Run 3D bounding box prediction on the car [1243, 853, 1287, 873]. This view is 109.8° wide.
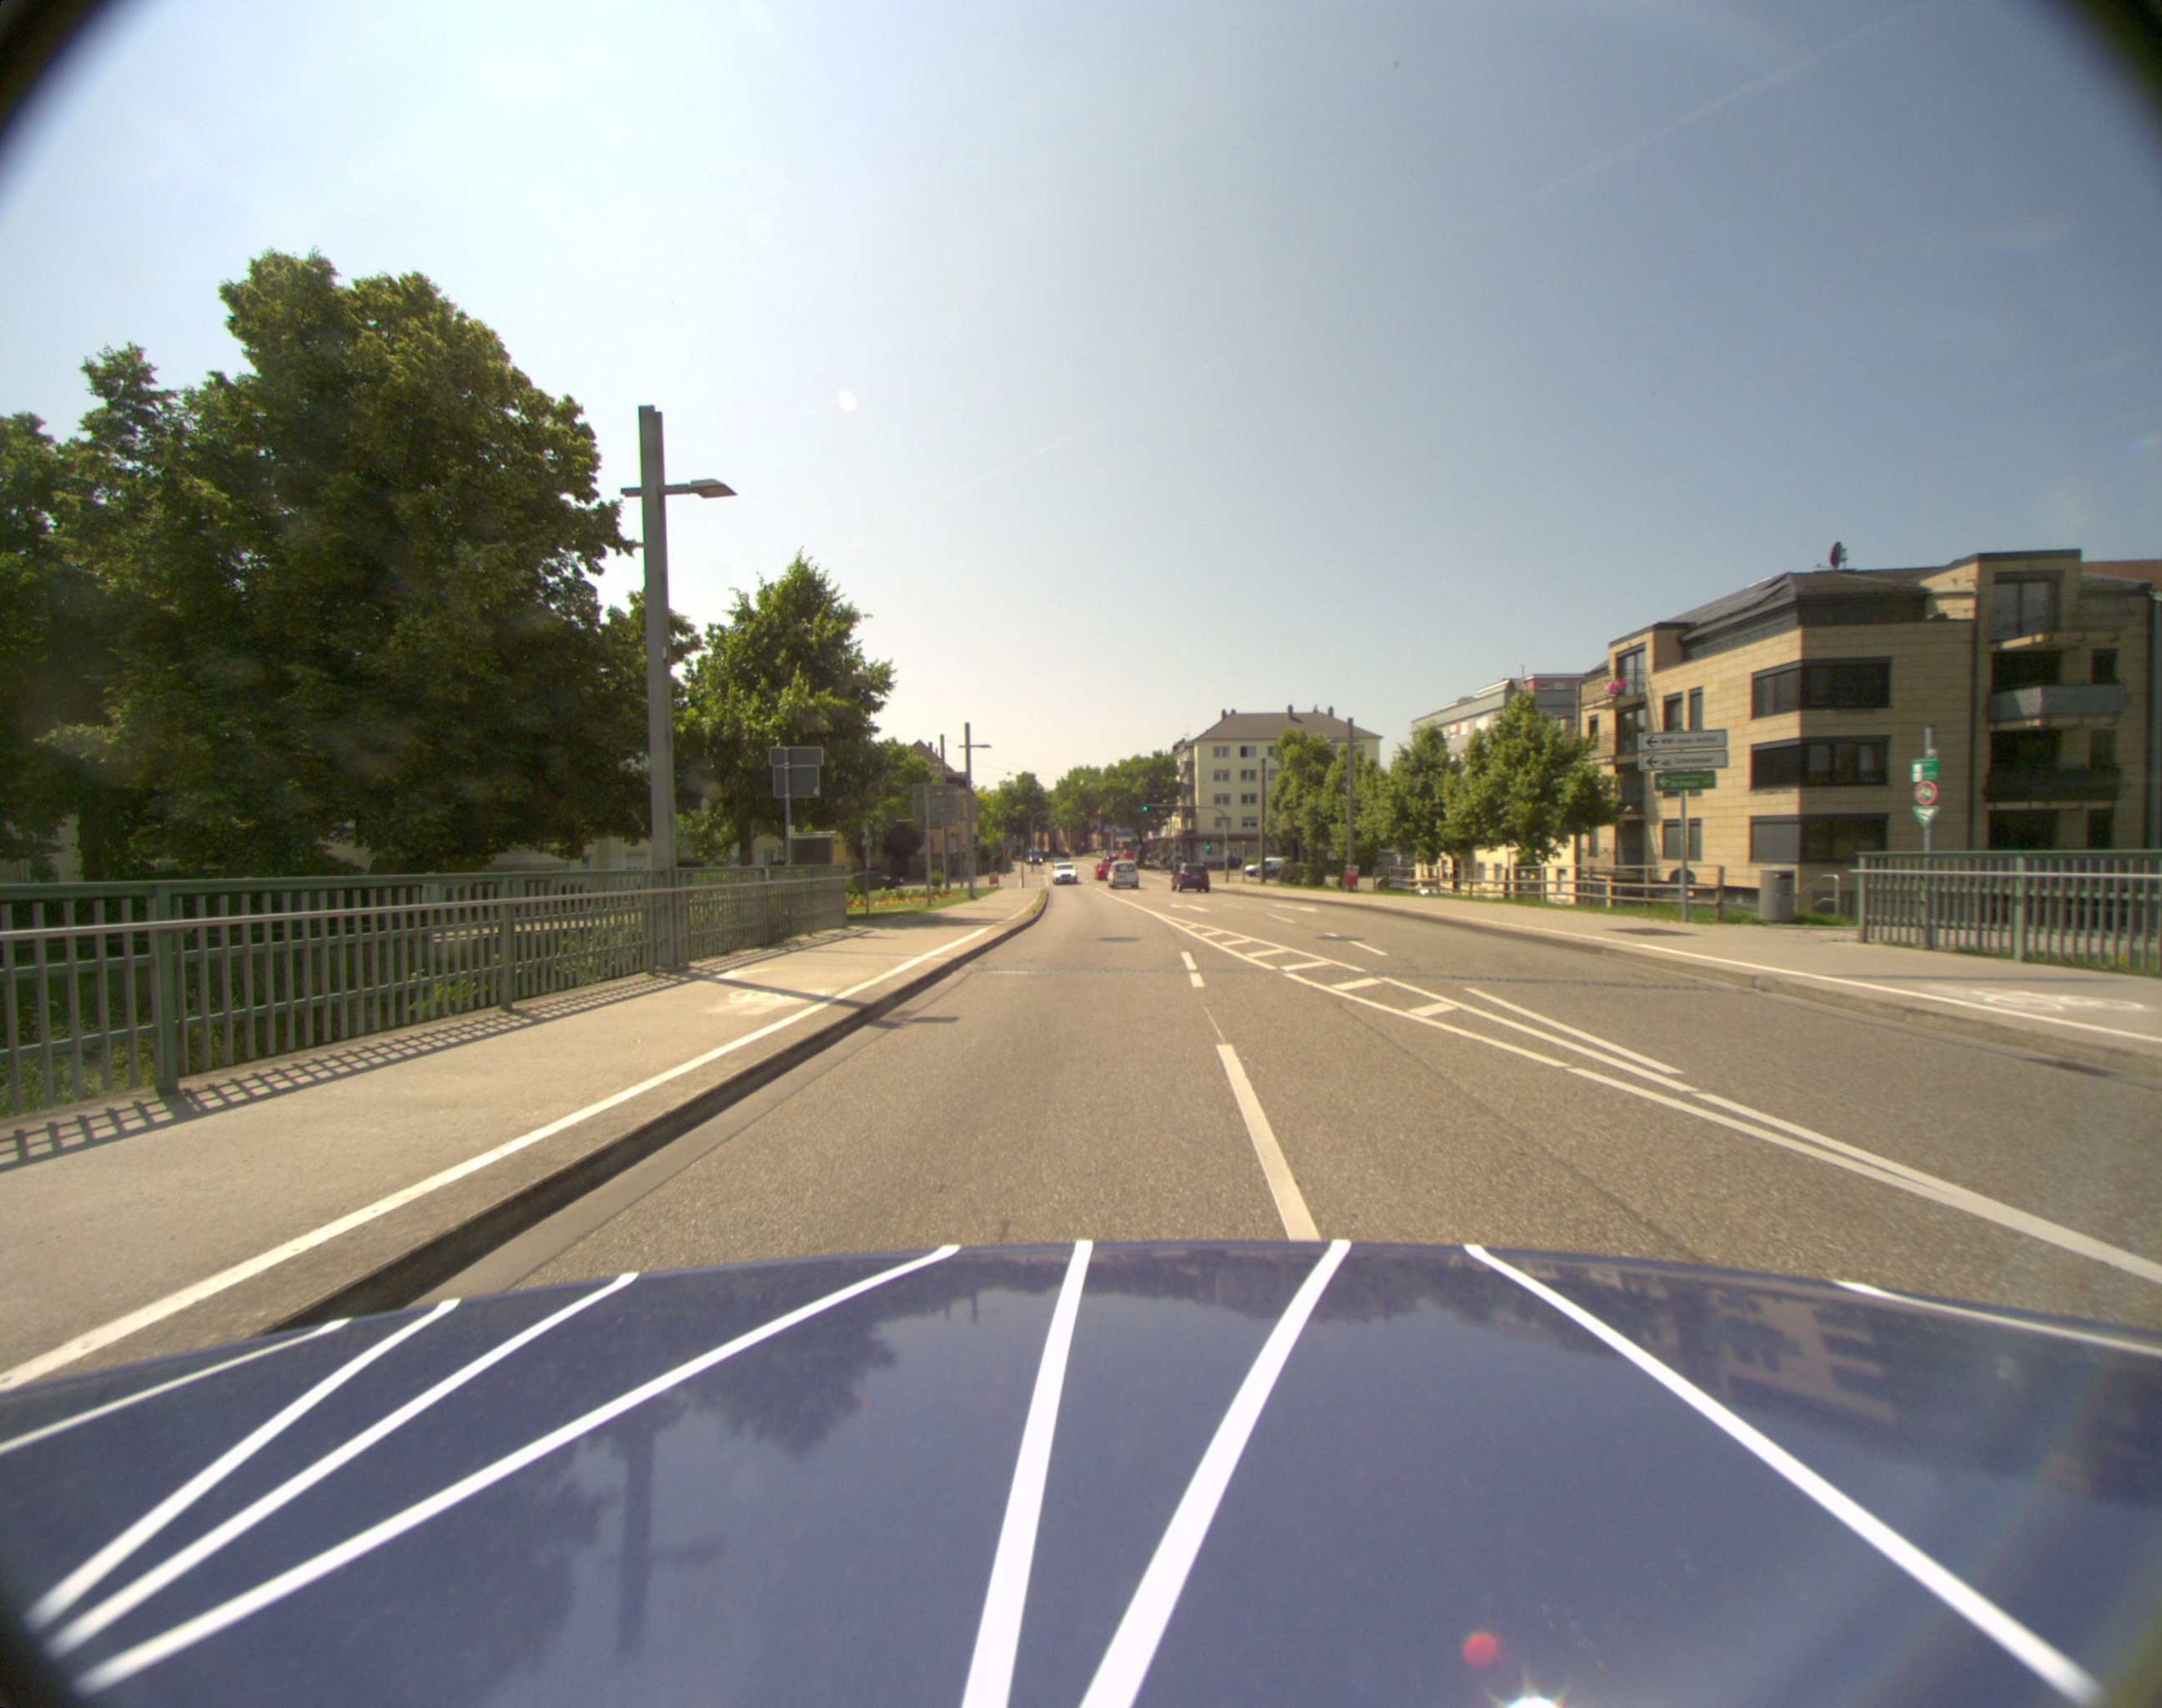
[{"bbox_3d":[17.707,0.853,73.282,3.696,1.725,1.892,1,2,-5],"label":"car"}]

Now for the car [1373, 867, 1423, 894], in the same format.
[{"bbox_3d":[23.131,1.899,55.659,1.818,1.619,5.286,1,2,4],"label":"car"}]

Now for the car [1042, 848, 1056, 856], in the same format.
[{"bbox_3d":[-6.680,-0.412,159.496,1.763,1.551,4.309,1,1,-19],"label":"car"}]

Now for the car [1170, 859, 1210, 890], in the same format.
[{"bbox_3d":[6.287,1.162,44.050,1.741,1.631,3.921,1,0,1],"label":"car"}]

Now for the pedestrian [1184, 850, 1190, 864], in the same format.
[{"bbox_3d":[13.319,0.342,95.779,0.629,1.750,0.742,-1,2,-4],"label":"pedestrian"}]

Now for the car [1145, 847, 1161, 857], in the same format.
[{"bbox_3d":[10.724,-0.359,113.471,1.704,1.279,3.859,-2,2,-4],"label":"car"}]

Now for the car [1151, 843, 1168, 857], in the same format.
[{"bbox_3d":[11.149,-0.577,107.969,1.643,1.829,3.857,-2,1,-4],"label":"car"}]

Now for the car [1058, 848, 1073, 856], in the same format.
[{"bbox_3d":[-2.916,-0.361,144.642,1.843,1.391,4.044,-1,0,-15],"label":"car"}]

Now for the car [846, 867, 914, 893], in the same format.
[{"bbox_3d":[-15.883,2.004,60.247,4.827,1.623,1.912,-4,4,-45],"label":"car"}]

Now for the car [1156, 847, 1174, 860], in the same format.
[{"bbox_3d":[11.222,-0.077,102.095,1.626,1.560,4.836,-1,2,-3],"label":"car"}]

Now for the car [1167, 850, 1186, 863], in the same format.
[{"bbox_3d":[11.780,0.341,94.174,1.587,1.450,3.937,-1,2,-3],"label":"car"}]

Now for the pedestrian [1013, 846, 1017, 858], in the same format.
[{"bbox_3d":[-10.180,-0.323,116.716,0.621,1.908,0.743,-1,2,-4],"label":"pedestrian"}]

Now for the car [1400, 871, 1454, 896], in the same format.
[{"bbox_3d":[22.730,1.906,50.073,1.780,1.424,4.430,-2,0,4],"label":"car"}]

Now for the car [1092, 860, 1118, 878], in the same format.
[{"bbox_3d":[2.011,1.301,64.613,1.652,1.455,3.860,0,-2,-6],"label":"car"}]

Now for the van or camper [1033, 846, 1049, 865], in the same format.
[{"bbox_3d":[-6.052,0.175,114.296,2.165,2.567,5.841,-2,2,-4],"label":"van or camper"}]

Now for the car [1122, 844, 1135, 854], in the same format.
[{"bbox_3d":[7.492,-0.783,119.756,1.639,1.460,3.632,-1,2,-3],"label":"car"}]

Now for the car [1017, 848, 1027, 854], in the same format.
[{"bbox_3d":[-14.011,-0.689,180.729,1.623,1.447,3.704,2,-1,-19],"label":"car"}]

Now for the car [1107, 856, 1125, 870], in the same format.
[{"bbox_3d":[4.177,1.054,91.443,1.718,1.477,4.029,-3,2,-2],"label":"car"}]

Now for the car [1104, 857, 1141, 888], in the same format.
[{"bbox_3d":[2.703,1.184,50.568,1.842,1.849,4.661,-3,0,-4],"label":"car"}]

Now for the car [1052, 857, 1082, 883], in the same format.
[{"bbox_3d":[-1.175,1.258,60.847,1.999,1.740,4.442,-3,2,-5],"label":"car"}]
